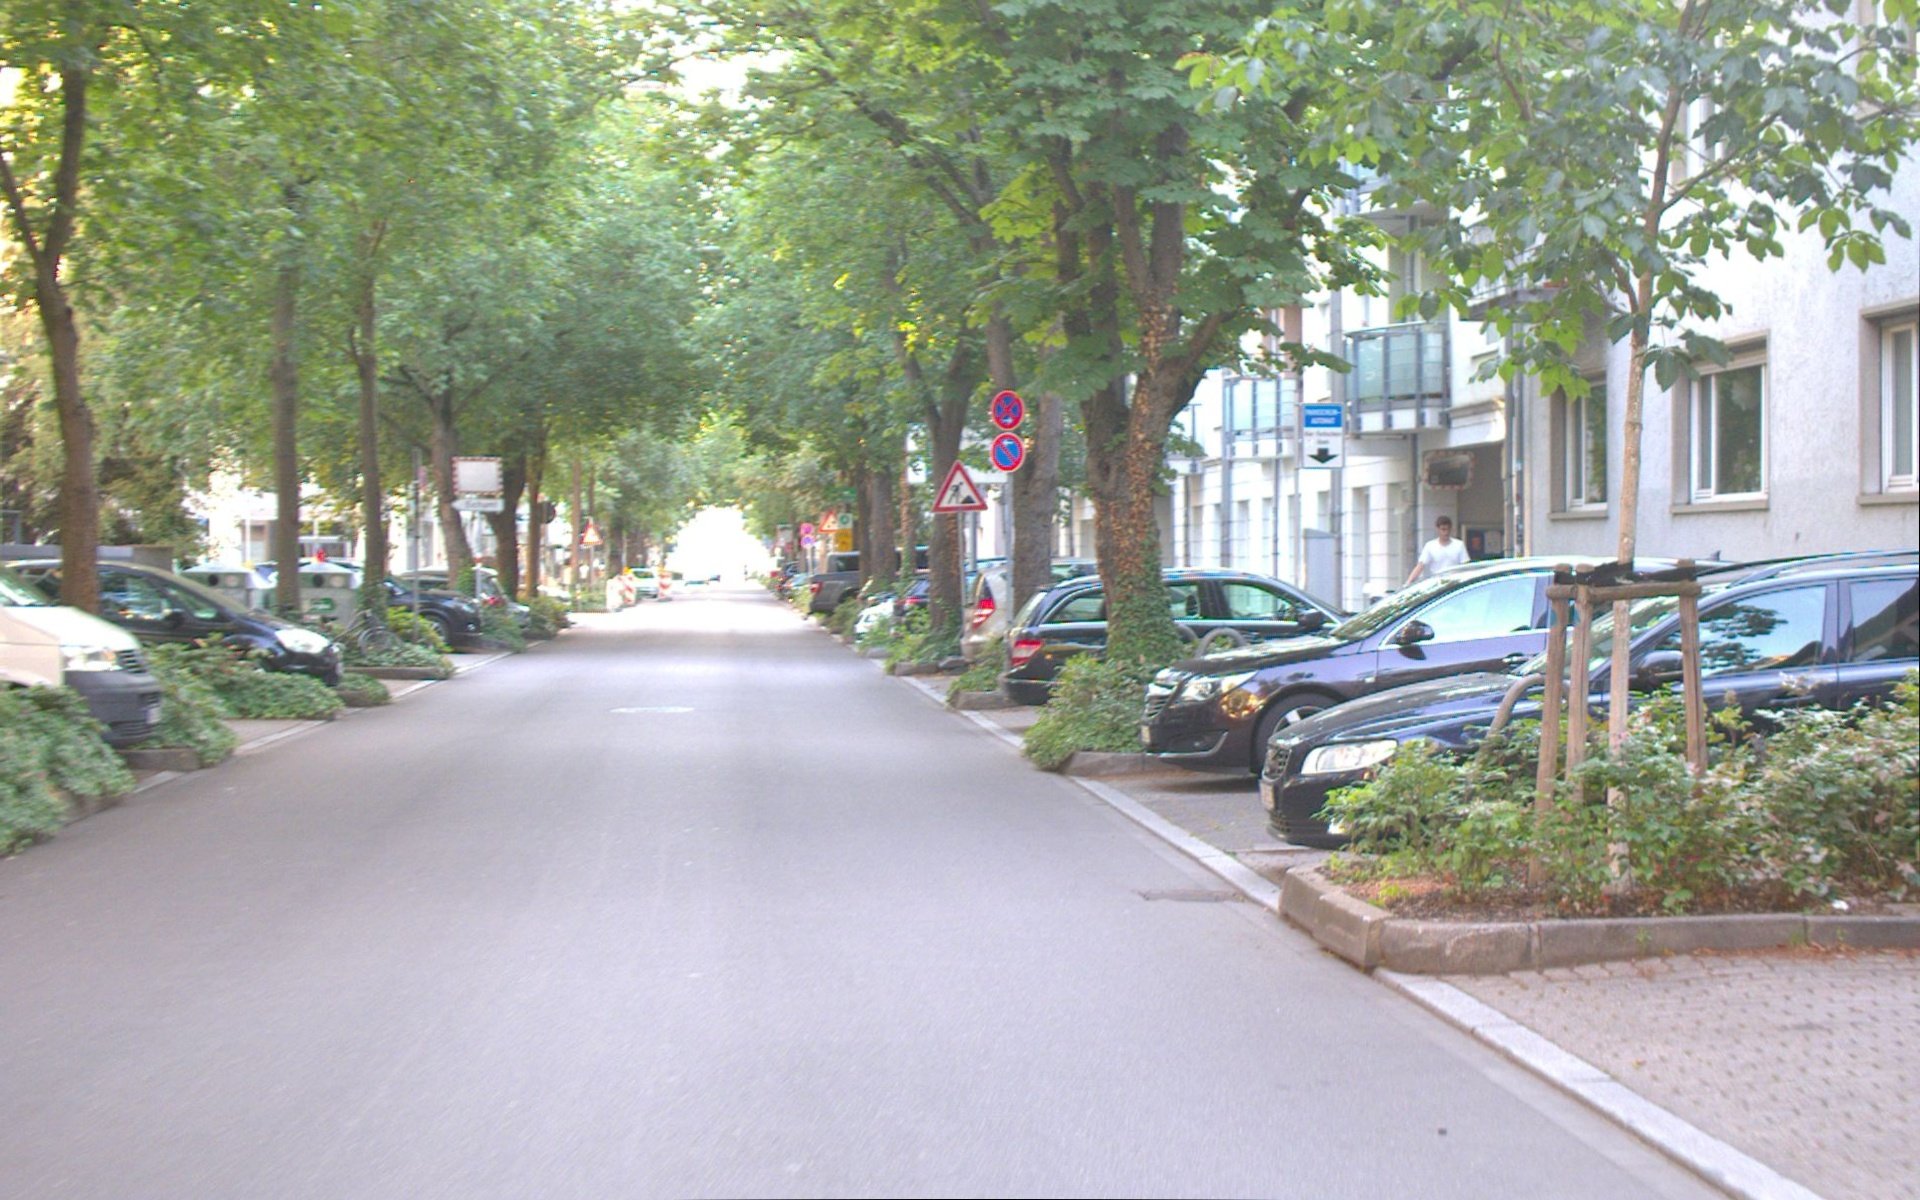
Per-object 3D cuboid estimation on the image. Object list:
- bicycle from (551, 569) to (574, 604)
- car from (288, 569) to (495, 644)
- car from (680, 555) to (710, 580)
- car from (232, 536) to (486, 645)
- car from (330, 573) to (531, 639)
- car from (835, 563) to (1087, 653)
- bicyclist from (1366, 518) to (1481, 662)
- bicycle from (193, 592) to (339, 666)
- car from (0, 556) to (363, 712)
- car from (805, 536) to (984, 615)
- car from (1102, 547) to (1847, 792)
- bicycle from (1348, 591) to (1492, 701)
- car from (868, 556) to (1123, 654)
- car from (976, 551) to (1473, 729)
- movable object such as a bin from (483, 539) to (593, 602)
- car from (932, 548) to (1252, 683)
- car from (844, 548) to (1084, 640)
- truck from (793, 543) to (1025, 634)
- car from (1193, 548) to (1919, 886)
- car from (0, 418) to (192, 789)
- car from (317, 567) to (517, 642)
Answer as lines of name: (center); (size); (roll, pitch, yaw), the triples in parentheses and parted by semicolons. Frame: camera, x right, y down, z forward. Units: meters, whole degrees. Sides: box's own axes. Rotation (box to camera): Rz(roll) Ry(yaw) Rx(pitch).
bicycle: (-13.424, -0.455, 116.048); (0.683, 1.149, 1.981); (0, 1, -9)
car: (-11.408, 0.123, 69.200); (3.986, 1.459, 1.923); (0, 1, -5)
car: (-18.410, -2.283, 238.778); (2.009, 1.607, 4.120); (1, 1, -5)
car: (-11.138, -0.178, 63.982); (4.504, 1.949, 2.000); (0, 0, -5)
car: (-11.800, 0.124, 76.867); (4.287, 1.425, 1.879); (0, 1, -4)
car: (-0.010, 0.138, 65.320); (4.599, 1.463, 1.796); (-3, 1, -4)
bicyclist: (5.221, -0.120, 38.800); (0.970, 1.599, 1.136); (0, 0, -11)
bicycle: (-7.927, 0.332, 39.295); (1.553, 0.828, 0.613); (0, 0, -1)
car: (-9.022, 0.342, 37.095); (4.852, 1.616, 2.160); (0, 0, -3)
car: (-1.756, -0.664, 91.325); (4.599, 2.059, 2.198); (0, 1, -5)
car: (3.409, 0.439, 23.431); (4.677, 1.383, 2.000); (-3, 1, -2)
bicycle: (5.123, 0.486, 38.560); (0.620, 1.160, 3.402); (0, 0, -10)
car: (0.586, 0.079, 59.428); (4.082, 1.446, 1.935); (-3, 1, -9)
car: (2.412, 0.352, 32.237); (4.459, 1.422, 2.011); (-3, 0, 1)
movable object such as a bin: (-16.018, -1.136, 130.445); (4.045, 2.375, 2.785); (0, 1, -9)
car: (1.713, 0.187, 45.419); (3.968, 1.580, 1.917); (-3, 1, -4)
car: (0.058, -0.132, 70.615); (4.641, 1.612, 2.010); (-3, 1, -8)
truck: (-1.352, -0.293, 88.604); (5.887, 2.303, 2.213); (0, 0, -3)
car: (3.684, 0.506, 16.969); (4.839, 1.443, 2.042); (-2, 1, -1)
car: (-8.217, 0.002, 24.701); (5.002, 2.564, 2.121); (0, 1, -4)
car: (-11.707, 0.085, 74.239); (3.987, 1.560, 1.929); (0, 1, 1)
